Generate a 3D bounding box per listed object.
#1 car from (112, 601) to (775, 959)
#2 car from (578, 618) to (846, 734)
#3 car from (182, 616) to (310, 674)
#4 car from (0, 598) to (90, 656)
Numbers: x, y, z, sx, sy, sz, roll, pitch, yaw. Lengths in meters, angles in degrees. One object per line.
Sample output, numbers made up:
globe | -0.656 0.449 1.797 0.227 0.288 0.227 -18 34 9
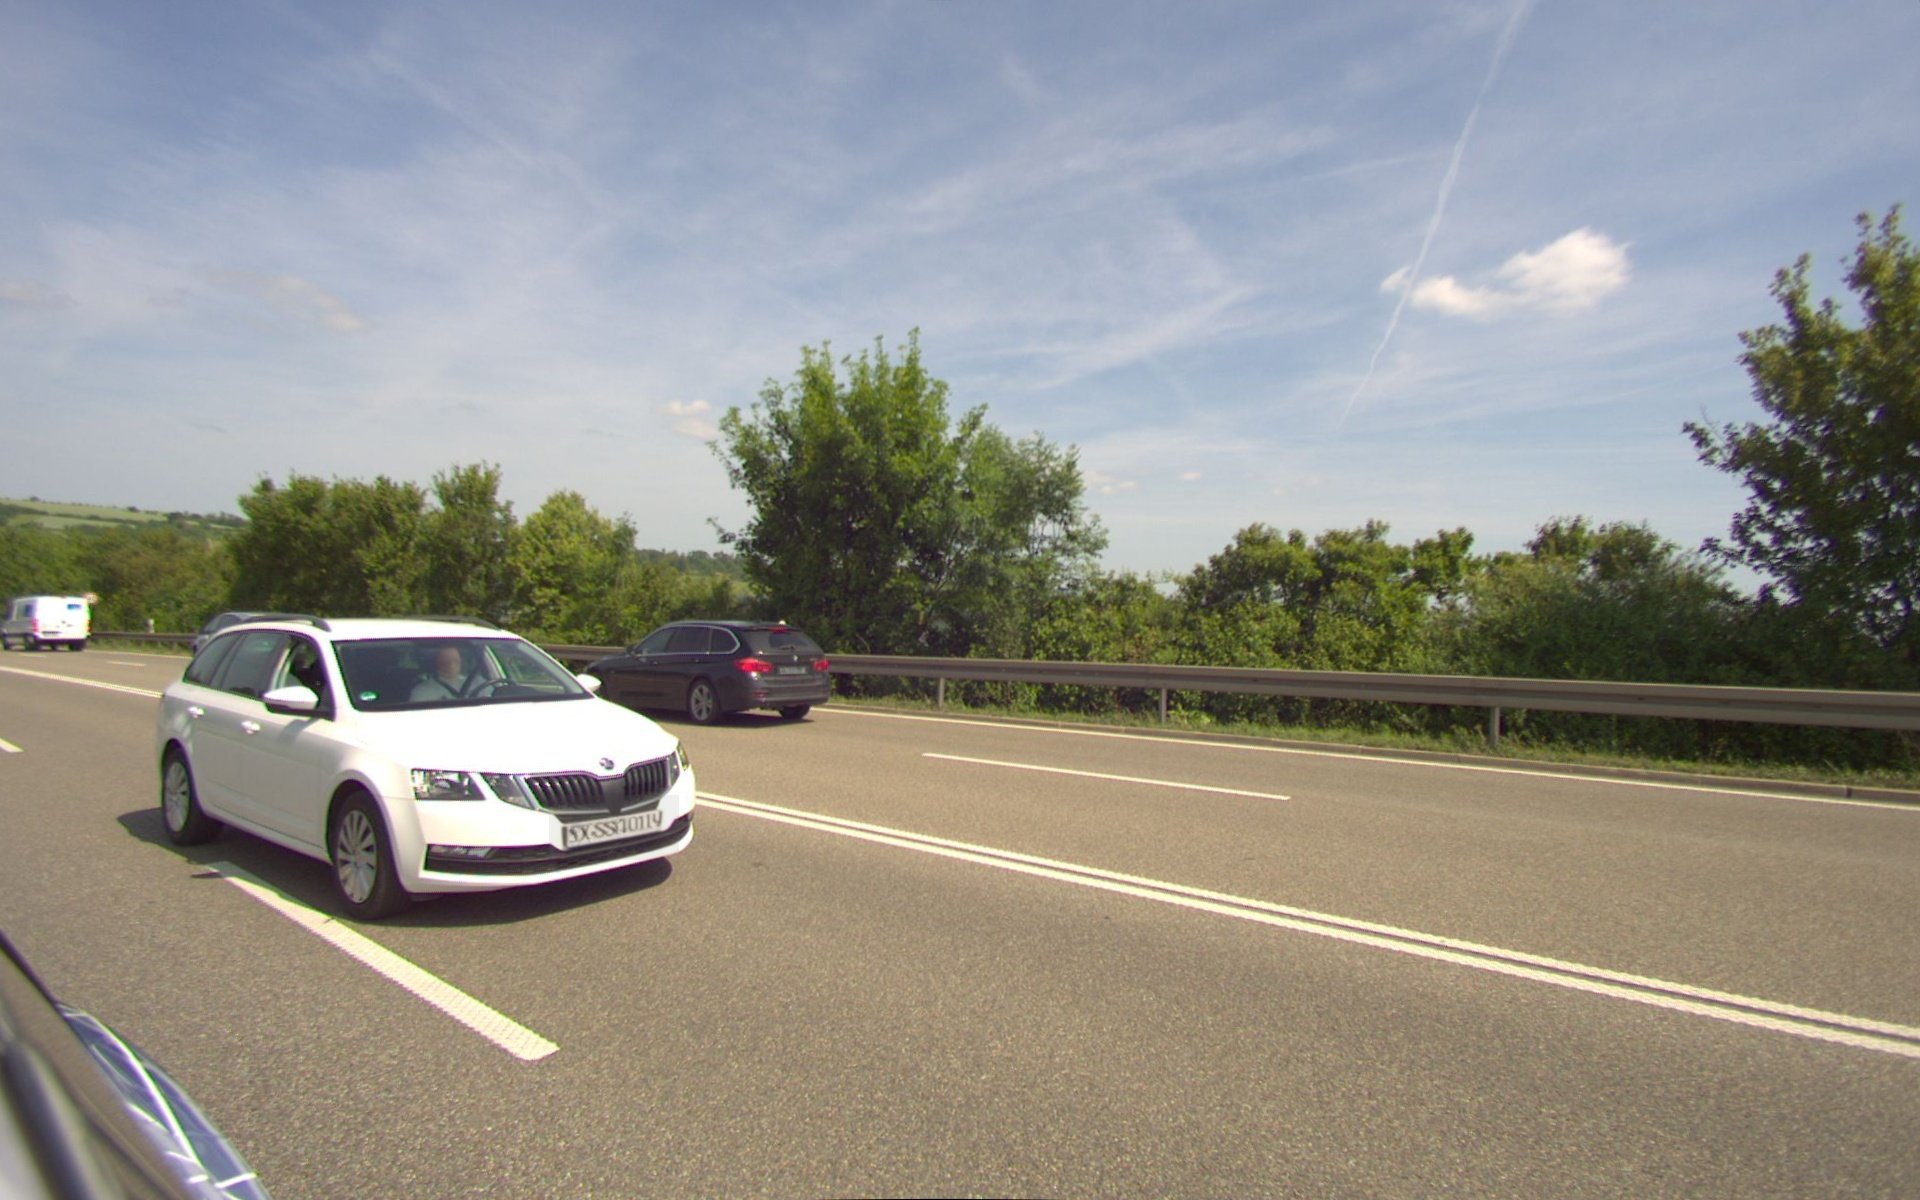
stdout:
car | -3.480 0.801 6.373 4.780 1.483 1.804 -1 -1 37
car | -3.750 1.006 14.906 4.212 1.472 1.700 -1 -2 40
car | -20.843 1.264 29.477 4.678 1.580 1.795 -1 -2 39
car | -41.197 1.210 45.300 5.831 2.413 2.070 -1 -2 36
